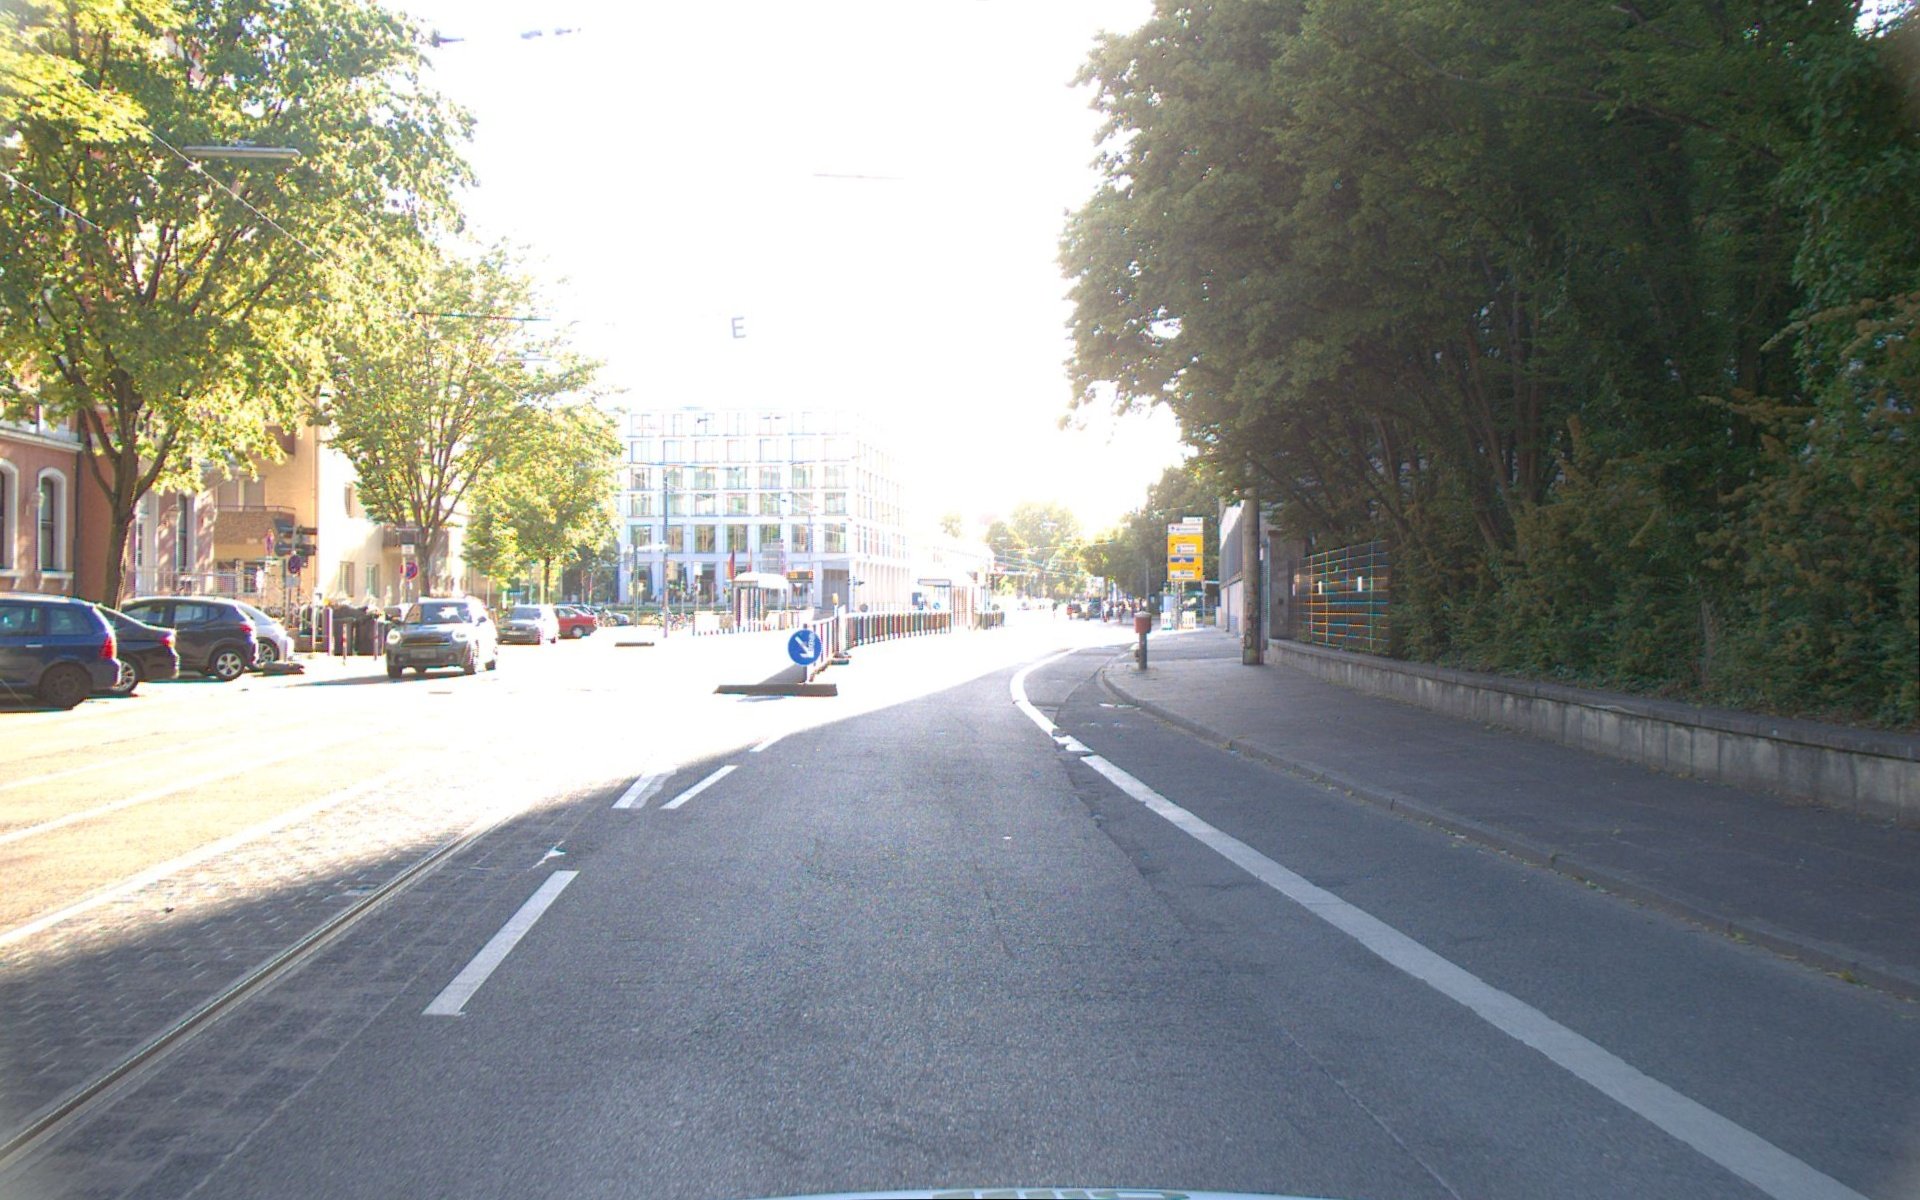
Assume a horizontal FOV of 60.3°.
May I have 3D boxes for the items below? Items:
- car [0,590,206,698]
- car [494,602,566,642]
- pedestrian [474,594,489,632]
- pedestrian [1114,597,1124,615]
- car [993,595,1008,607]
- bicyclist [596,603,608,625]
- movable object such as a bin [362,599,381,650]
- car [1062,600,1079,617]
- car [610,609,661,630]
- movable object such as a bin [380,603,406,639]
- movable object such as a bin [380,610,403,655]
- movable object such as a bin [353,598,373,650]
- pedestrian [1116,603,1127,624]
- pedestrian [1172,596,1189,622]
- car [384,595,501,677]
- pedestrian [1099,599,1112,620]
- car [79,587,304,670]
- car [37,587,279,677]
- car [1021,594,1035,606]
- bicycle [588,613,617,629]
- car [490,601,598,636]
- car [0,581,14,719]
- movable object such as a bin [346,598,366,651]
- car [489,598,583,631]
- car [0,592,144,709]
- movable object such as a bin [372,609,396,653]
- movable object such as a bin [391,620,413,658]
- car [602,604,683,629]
[{"bbox_3d":[-14.517,0.710,26.718,3.949,1.645,1.611,3,-1,-41],"label":"car"},{"bbox_3d":[-16.634,0.834,64.163,1.671,1.435,4.291,2,0,-1],"label":"car"},{"bbox_3d":[-21.609,0.595,74.689,0.500,1.701,0.490,0,-1,1],"label":"pedestrian"},{"bbox_3d":[13.841,0.507,144.401,0.748,1.586,0.587,0,-1,-8],"label":"pedestrian"},{"bbox_3d":[5.973,0.223,244.293,1.780,1.742,3.808,0,0,8],"label":"car"},{"bbox_3d":[-26.126,1.029,120.713,0.605,1.610,0.594,0,-1,14],"label":"bicyclist"},{"bbox_3d":[-16.703,0.698,46.956,0.371,1.452,0.388,0,-1,7],"label":"movable object such as a bin"},{"bbox_3d":[12.590,0.959,187.856,1.648,1.768,3.511,2,-1,8],"label":"car"},{"bbox_3d":[-24.804,1.490,126.455,3.455,1.532,1.523,1,0,6],"label":"car"},{"bbox_3d":[-18.369,0.683,53.610,0.416,1.146,1.147,0,-1,1],"label":"movable object such as a bin"},{"bbox_3d":[-16.164,0.914,46.993,0.371,1.263,0.640,0,-1,7],"label":"movable object such as a bin"},{"bbox_3d":[-16.798,0.663,46.550,0.371,1.452,0.386,0,-1,7],"label":"movable object such as a bin"},{"bbox_3d":[13.995,1.191,143.538,0.832,1.815,0.778,0,-1,-8],"label":"pedestrian"},{"bbox_3d":[15.424,0.628,115.538,1.019,1.751,1.034,0,0,-3],"label":"pedestrian"},{"bbox_3d":[-10.984,0.709,35.364,1.837,1.629,4.416,0,0,-10],"label":"car"},{"bbox_3d":[12.531,0.815,142.573,0.948,1.815,0.778,0,-1,-8],"label":"pedestrian"},{"bbox_3d":[-15.966,0.618,34.449,3.883,1.548,1.709,3,-1,-42],"label":"car"},{"bbox_3d":[-15.230,0.619,31.479,3.879,1.534,1.668,3,-1,-37],"label":"car"},{"bbox_3d":[10.443,0.001,255.620,1.780,1.742,3.808,0,0,8],"label":"car"},{"bbox_3d":[-26.120,1.558,120.766,1.882,1.142,0.791,0,0,14],"label":"bicycle"},{"bbox_3d":[-18.636,0.843,74.070,4.441,1.451,1.859,2,-1,-24],"label":"car"},{"bbox_3d":[-14.325,0.525,20.540,4.239,1.753,1.685,4,-3,-37],"label":"car"},{"bbox_3d":[-16.845,0.681,46.123,0.371,1.452,0.388,0,-1,7],"label":"movable object such as a bin"},{"bbox_3d":[-21.670,0.745,84.637,4.443,1.597,1.578,2,-1,-25],"label":"car"},{"bbox_3d":[-14.152,0.702,23.879,3.949,1.645,1.611,3,-1,-41],"label":"car"},{"bbox_3d":[-16.098,0.866,46.227,0.371,1.224,0.640,0,-1,7],"label":"movable object such as a bin"},{"bbox_3d":[-16.081,1.108,47.668,0.371,1.087,0.640,0,-1,7],"label":"movable object such as a bin"},{"bbox_3d":[-18.748,0.981,97.661,4.443,1.374,1.578,2,-1,-25],"label":"car"}]
